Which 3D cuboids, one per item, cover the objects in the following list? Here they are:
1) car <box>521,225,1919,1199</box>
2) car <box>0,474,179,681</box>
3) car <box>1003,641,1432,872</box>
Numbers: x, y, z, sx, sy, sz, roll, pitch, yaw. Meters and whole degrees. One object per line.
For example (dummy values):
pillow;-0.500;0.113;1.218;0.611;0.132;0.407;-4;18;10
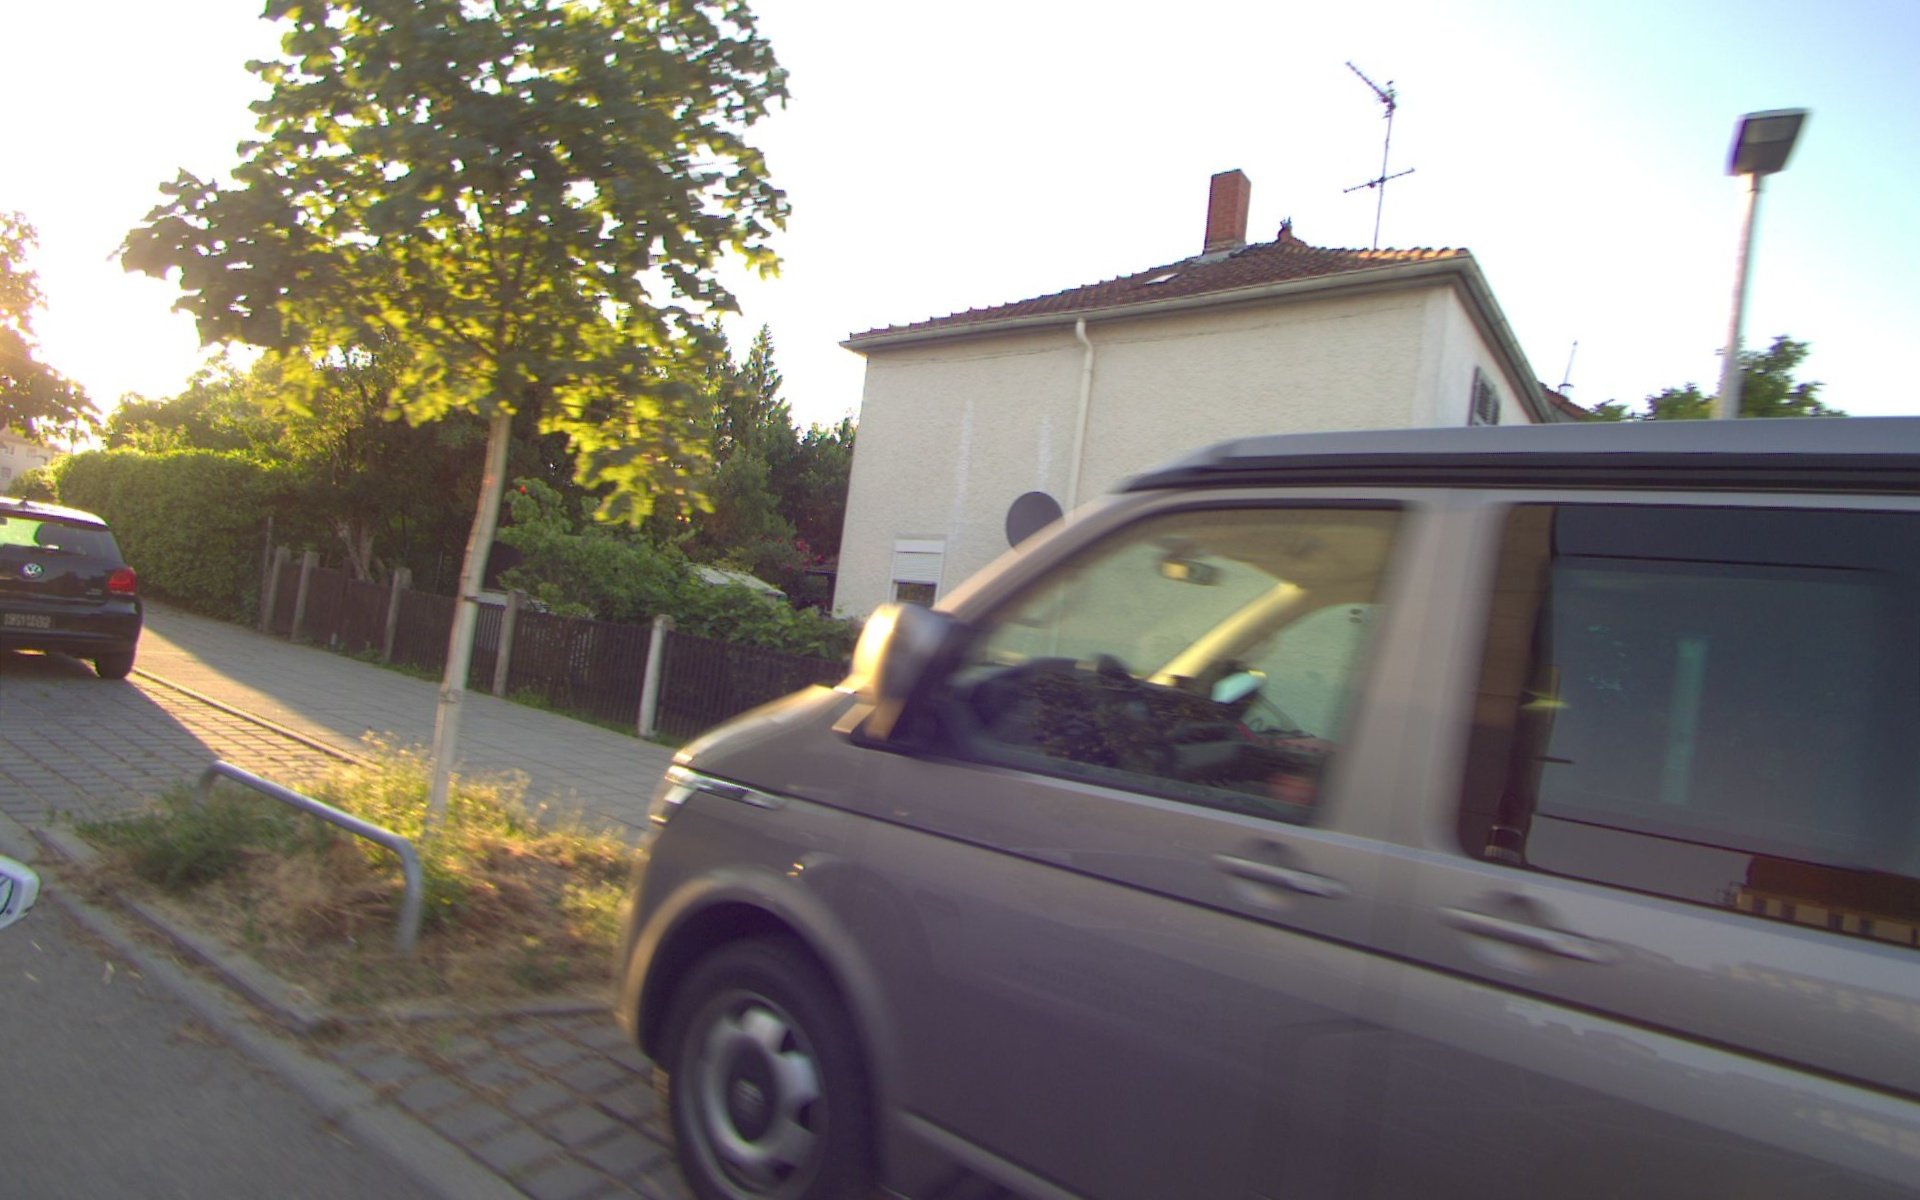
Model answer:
car;1.488;0.682;2.199;4.795;2.119;2.068;6;-2;35
car;-8.863;-0.326;9.226;3.586;1.569;1.741;6;-2;38
car;2.388;1.382;9.745;3.586;1.460;1.529;6;-2;38
